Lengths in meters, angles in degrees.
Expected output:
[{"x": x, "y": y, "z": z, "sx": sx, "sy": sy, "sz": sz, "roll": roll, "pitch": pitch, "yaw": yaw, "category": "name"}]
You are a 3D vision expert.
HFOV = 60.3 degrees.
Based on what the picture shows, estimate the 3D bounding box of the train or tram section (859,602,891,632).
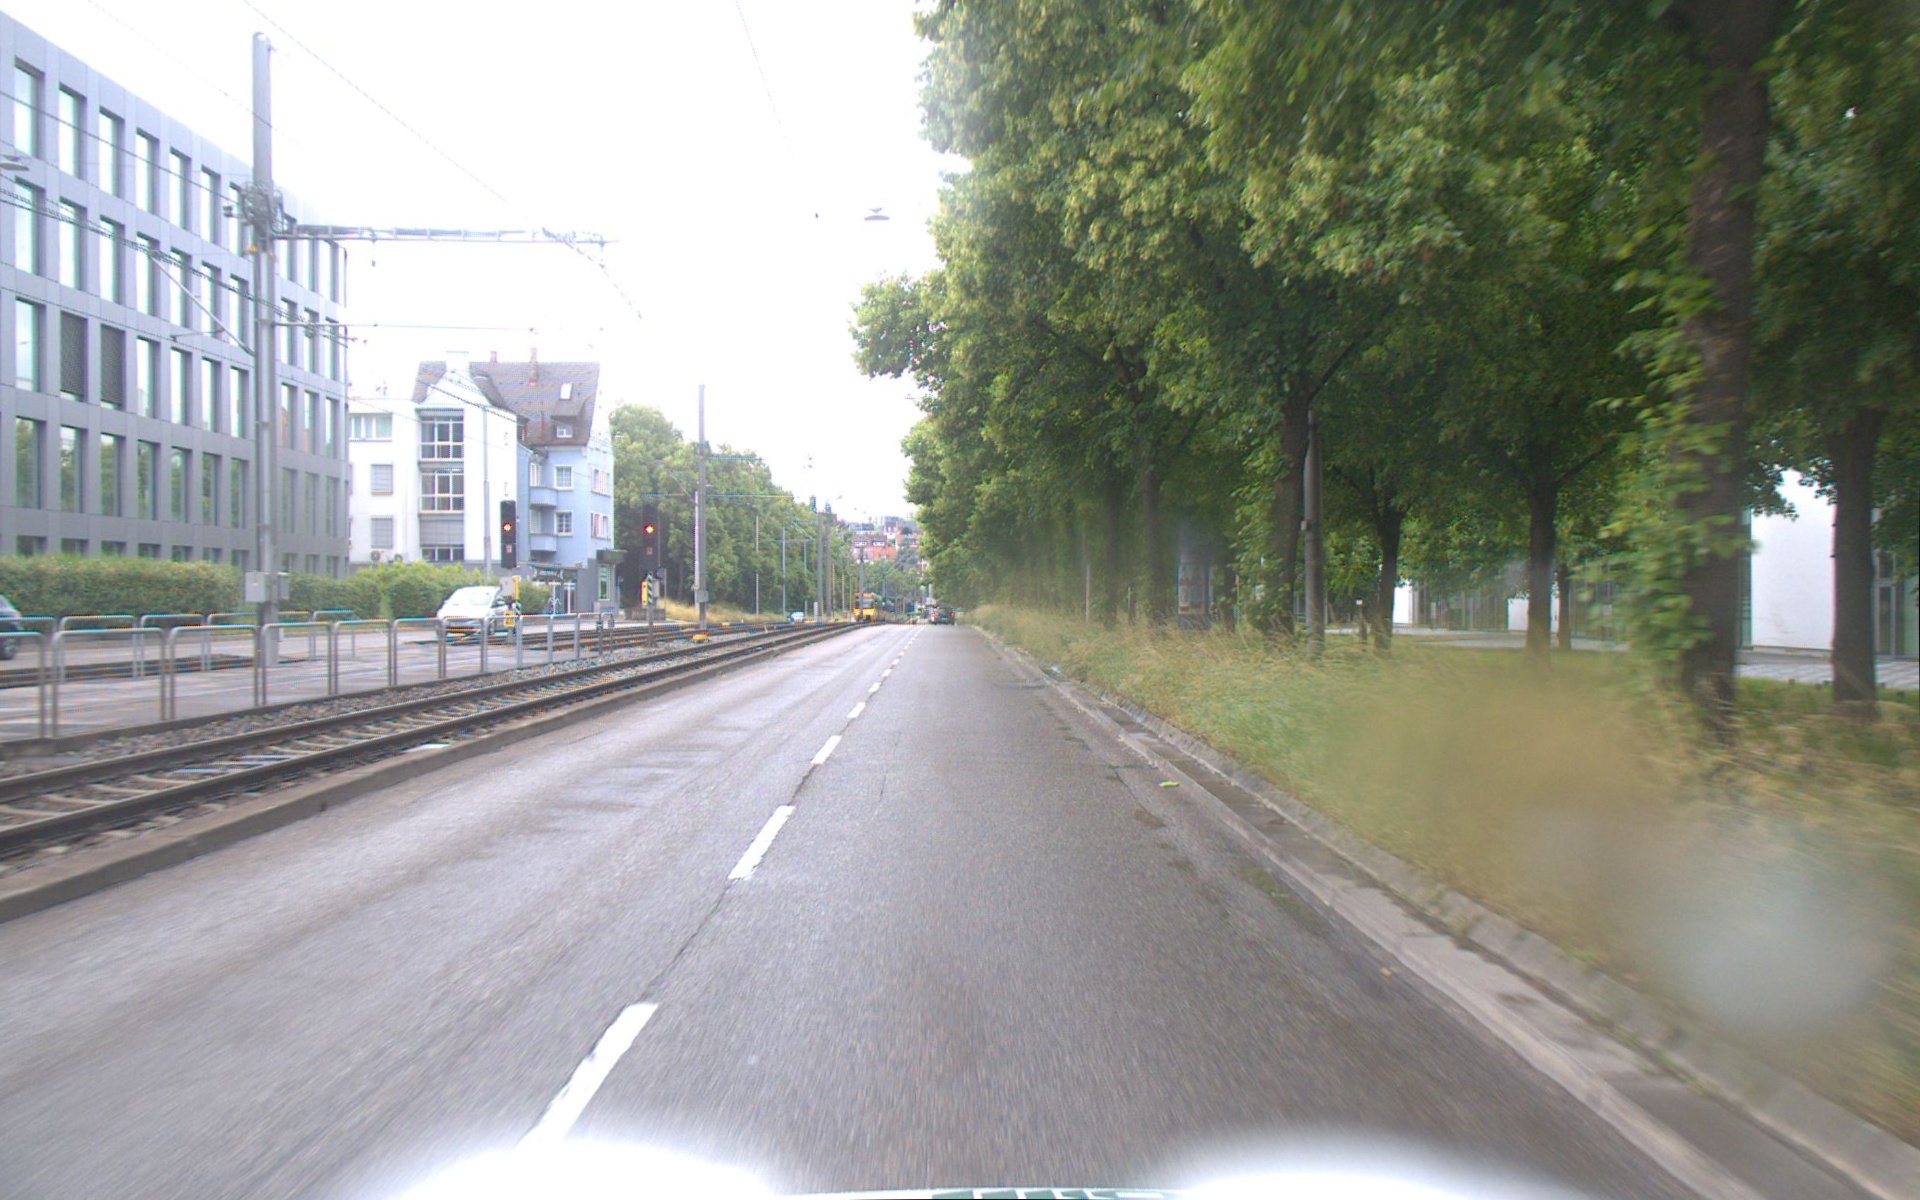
[{"x": -11.034, "y": 2.285, "z": 216.081, "sx": 3.148, "sy": 3.863, "sz": 14.789, "roll": 0, "pitch": -1, "yaw": 1, "category": "train or tram section"}]

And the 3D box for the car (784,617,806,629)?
[{"x": -17.734, "y": 2.486, "z": 177.897, "sx": 1.863, "sy": 1.348, "sz": 4.826, "roll": 0, "pitch": -1, "yaw": 1, "category": "car"}]

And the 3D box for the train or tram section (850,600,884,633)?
[{"x": -11.273, "y": 2.027, "z": 201.271, "sx": 3.148, "sy": 3.863, "sz": 14.789, "roll": 0, "pitch": -1, "yaw": 1, "category": "train or tram section"}]

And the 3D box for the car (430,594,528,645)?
[{"x": -16.289, "y": 0.638, "z": 56.259, "sx": 1.863, "sy": 1.673, "sz": 4.884, "roll": 0, "pitch": 0, "yaw": 1, "category": "car"}]

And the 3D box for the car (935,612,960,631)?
[{"x": -1.026, "y": 1.695, "z": 132.854, "sx": 1.941, "sy": 1.466, "sz": 4.473, "roll": 0, "pitch": 0, "yaw": 0, "category": "car"}]

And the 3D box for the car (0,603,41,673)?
[{"x": -19.726, "y": 0.745, "z": 31.814, "sx": 1.761, "sy": 1.370, "sz": 4.258, "roll": 0, "pitch": 0, "yaw": 0, "category": "car"}]
